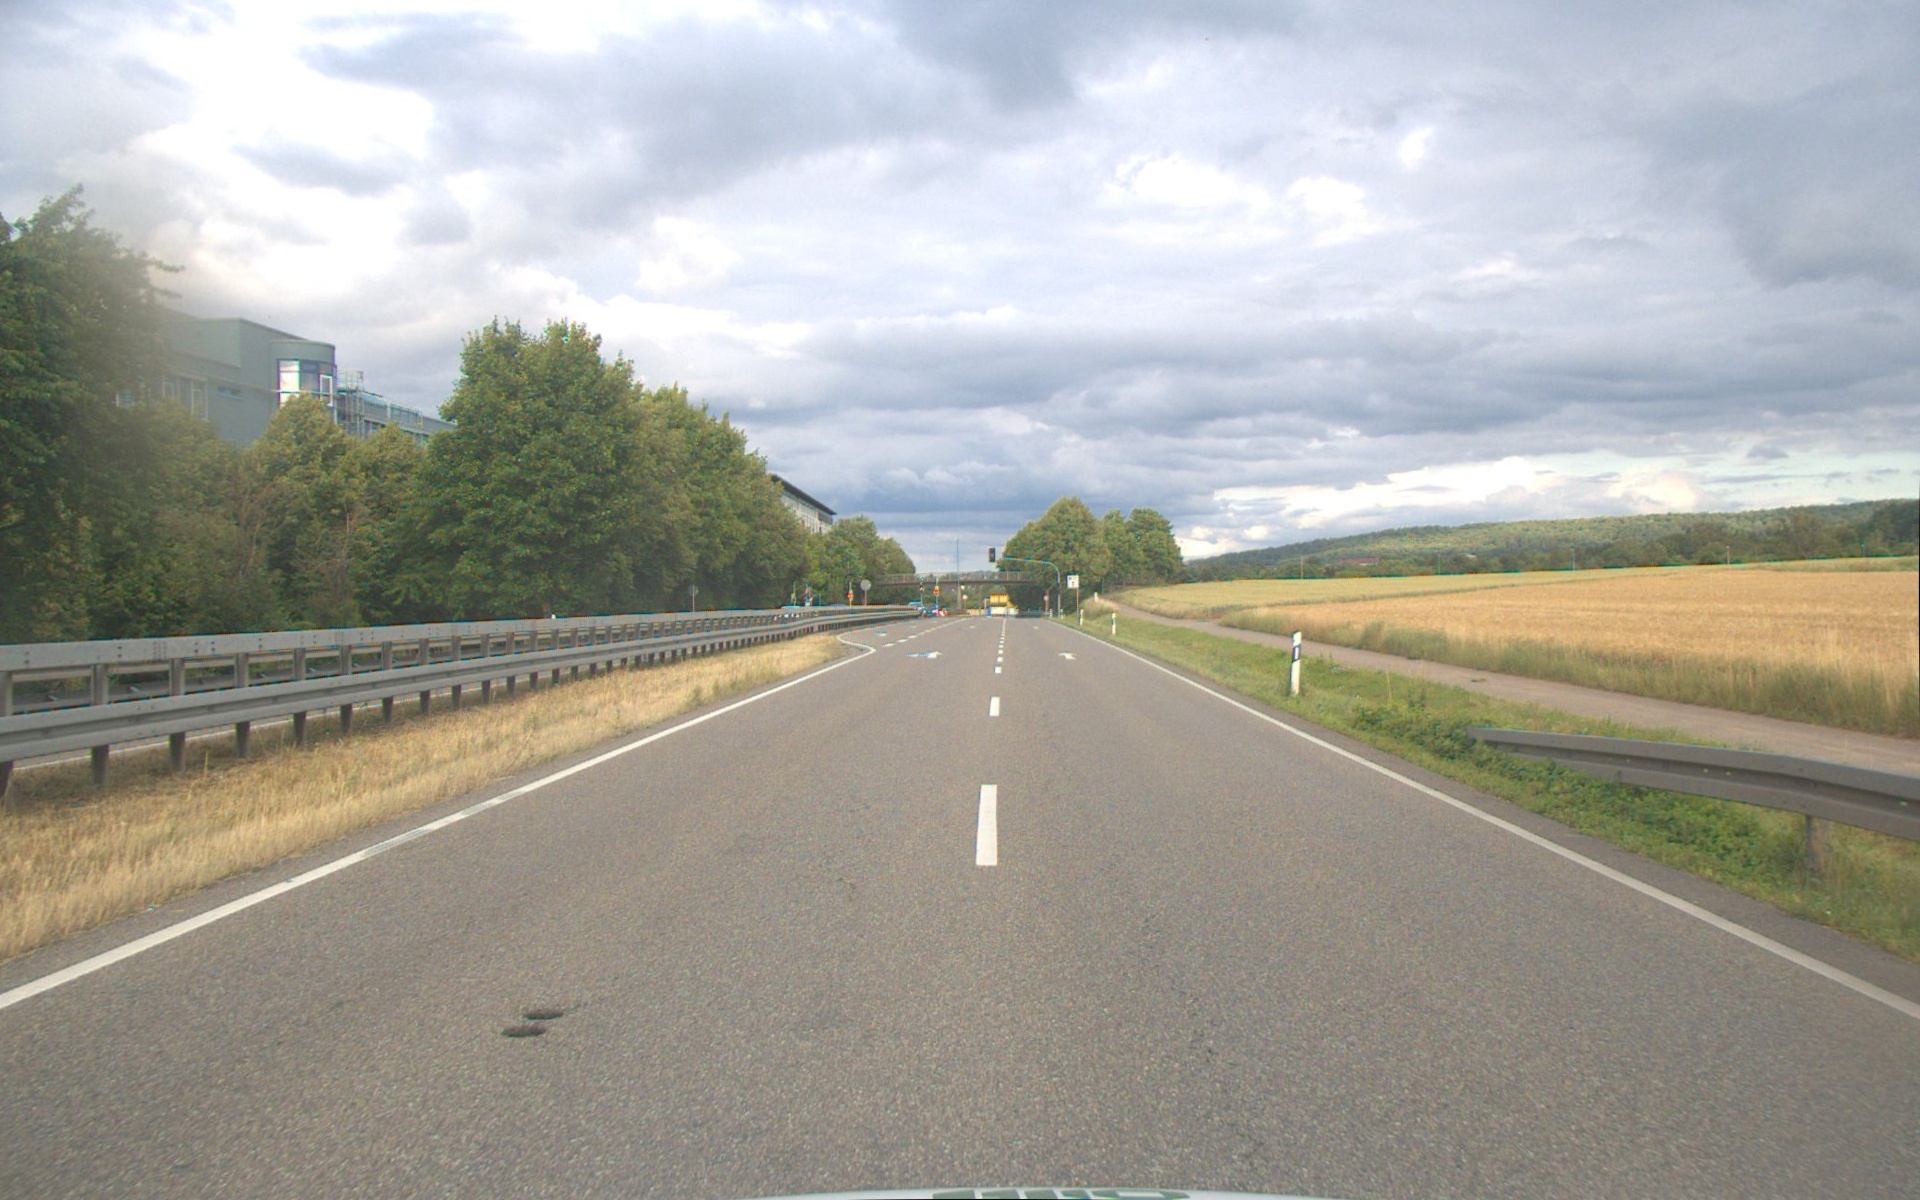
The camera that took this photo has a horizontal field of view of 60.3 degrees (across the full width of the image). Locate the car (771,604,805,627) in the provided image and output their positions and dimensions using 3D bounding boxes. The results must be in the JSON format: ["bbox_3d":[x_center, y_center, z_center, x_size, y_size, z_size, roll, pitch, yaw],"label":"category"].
[{"bbox_3d":[-11.299,1.002,108.919,1.722,1.438,4.459,-1,0,1],"label":"car"}]

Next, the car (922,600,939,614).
[{"bbox_3d":[-3.993,0.935,224.048,1.952,1.906,4.737,-1,0,2],"label":"car"}]

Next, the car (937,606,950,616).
[{"bbox_3d":[-1.955,1.281,192.685,1.329,1.111,2.922,-1,0,2],"label":"car"}]
